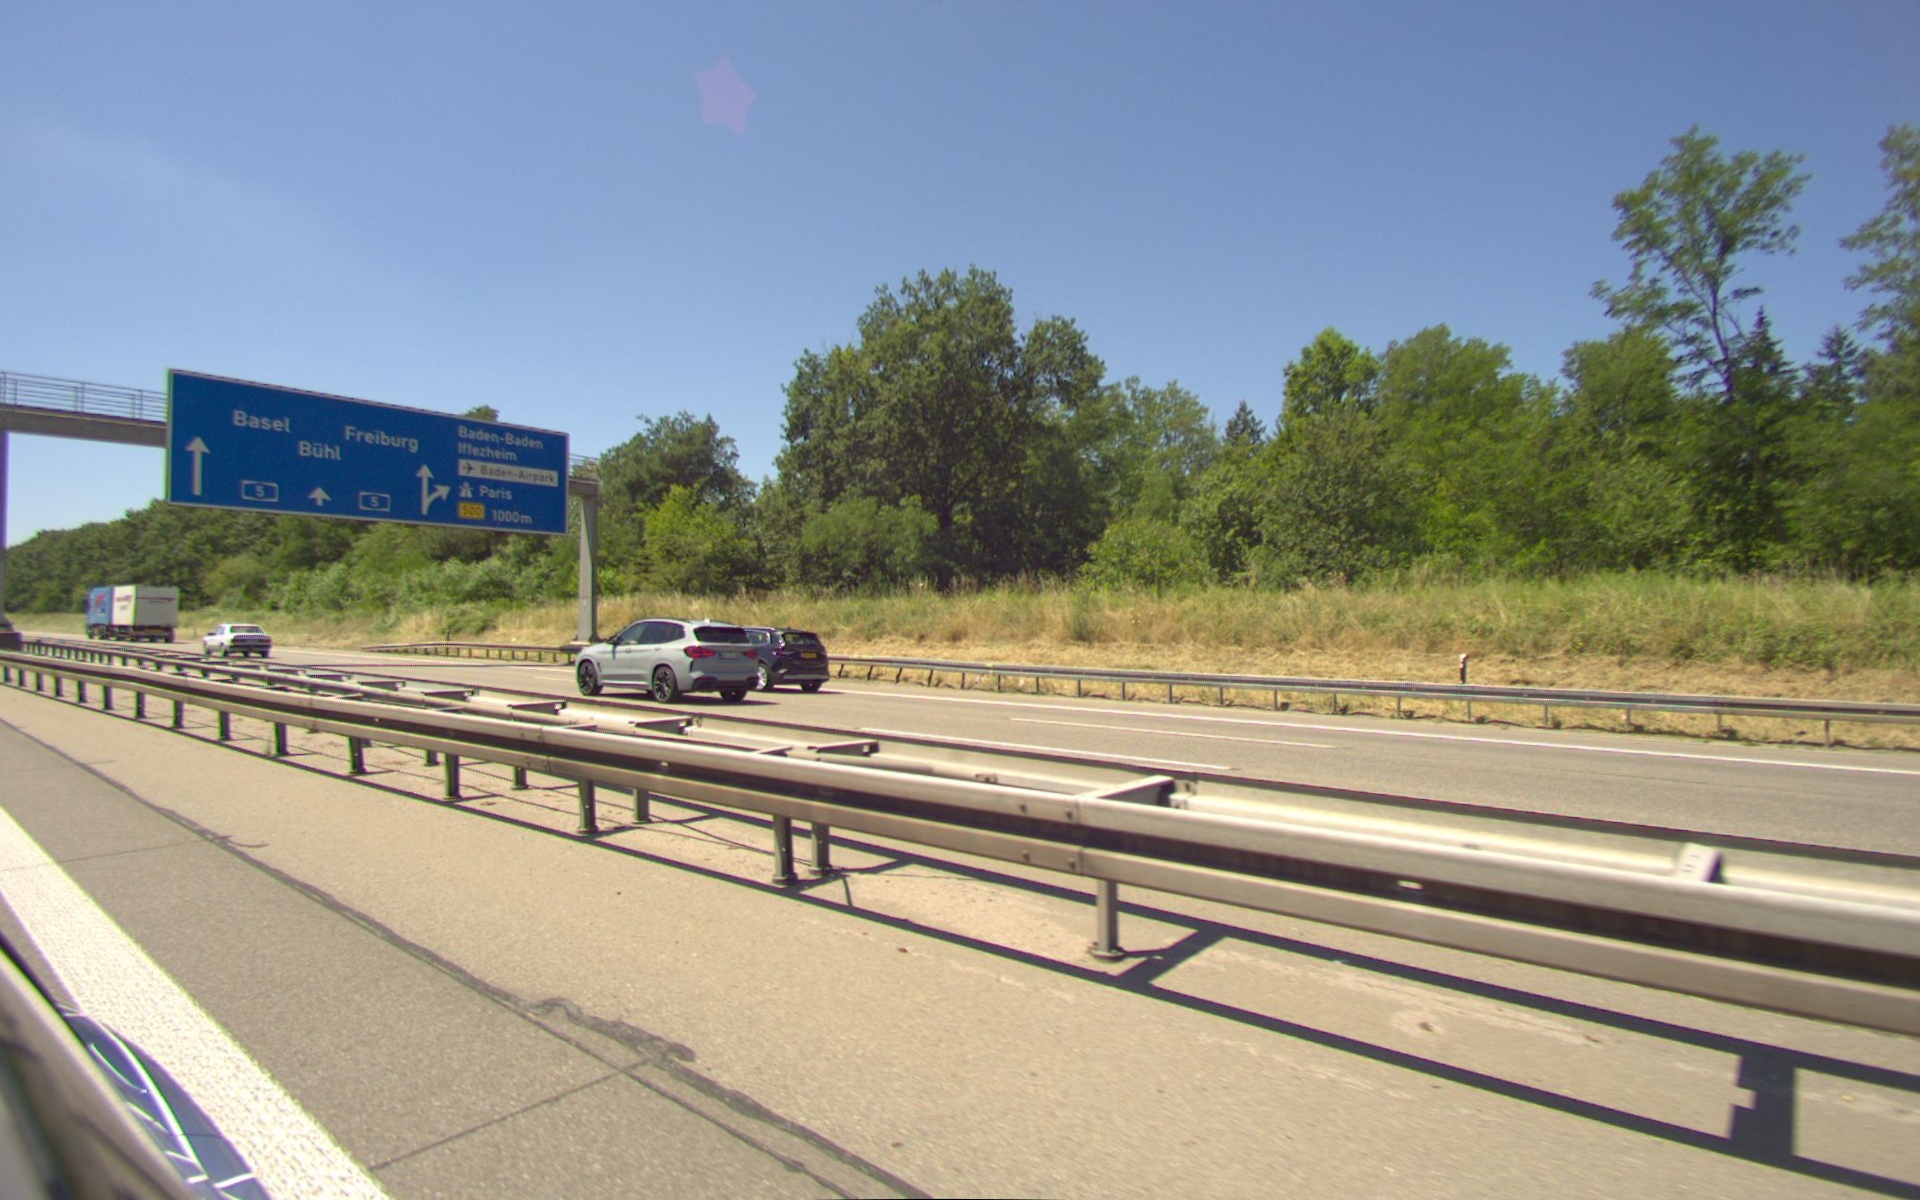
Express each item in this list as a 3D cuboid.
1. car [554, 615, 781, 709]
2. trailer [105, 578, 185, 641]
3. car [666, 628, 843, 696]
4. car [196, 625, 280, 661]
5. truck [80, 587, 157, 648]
[{"bbox_3d":[-6.212,1.222,21.111,5.287,1.731,1.941,-1,-3,41],"label":"car"},{"bbox_3d":[-59.701,0.763,74.074,8.631,4.315,3.026,-1,-2,41],"label":"trailer"},{"bbox_3d":[-5.373,1.535,26.133,4.947,1.566,1.812,-1,-3,41],"label":"car"},{"bbox_3d":[-30.617,1.807,42.897,4.476,1.406,1.788,-1,-3,40],"label":"car"},{"bbox_3d":[-67.003,1.454,80.488,10.454,4.593,3.026,-1,-3,41],"label":"truck"}]
